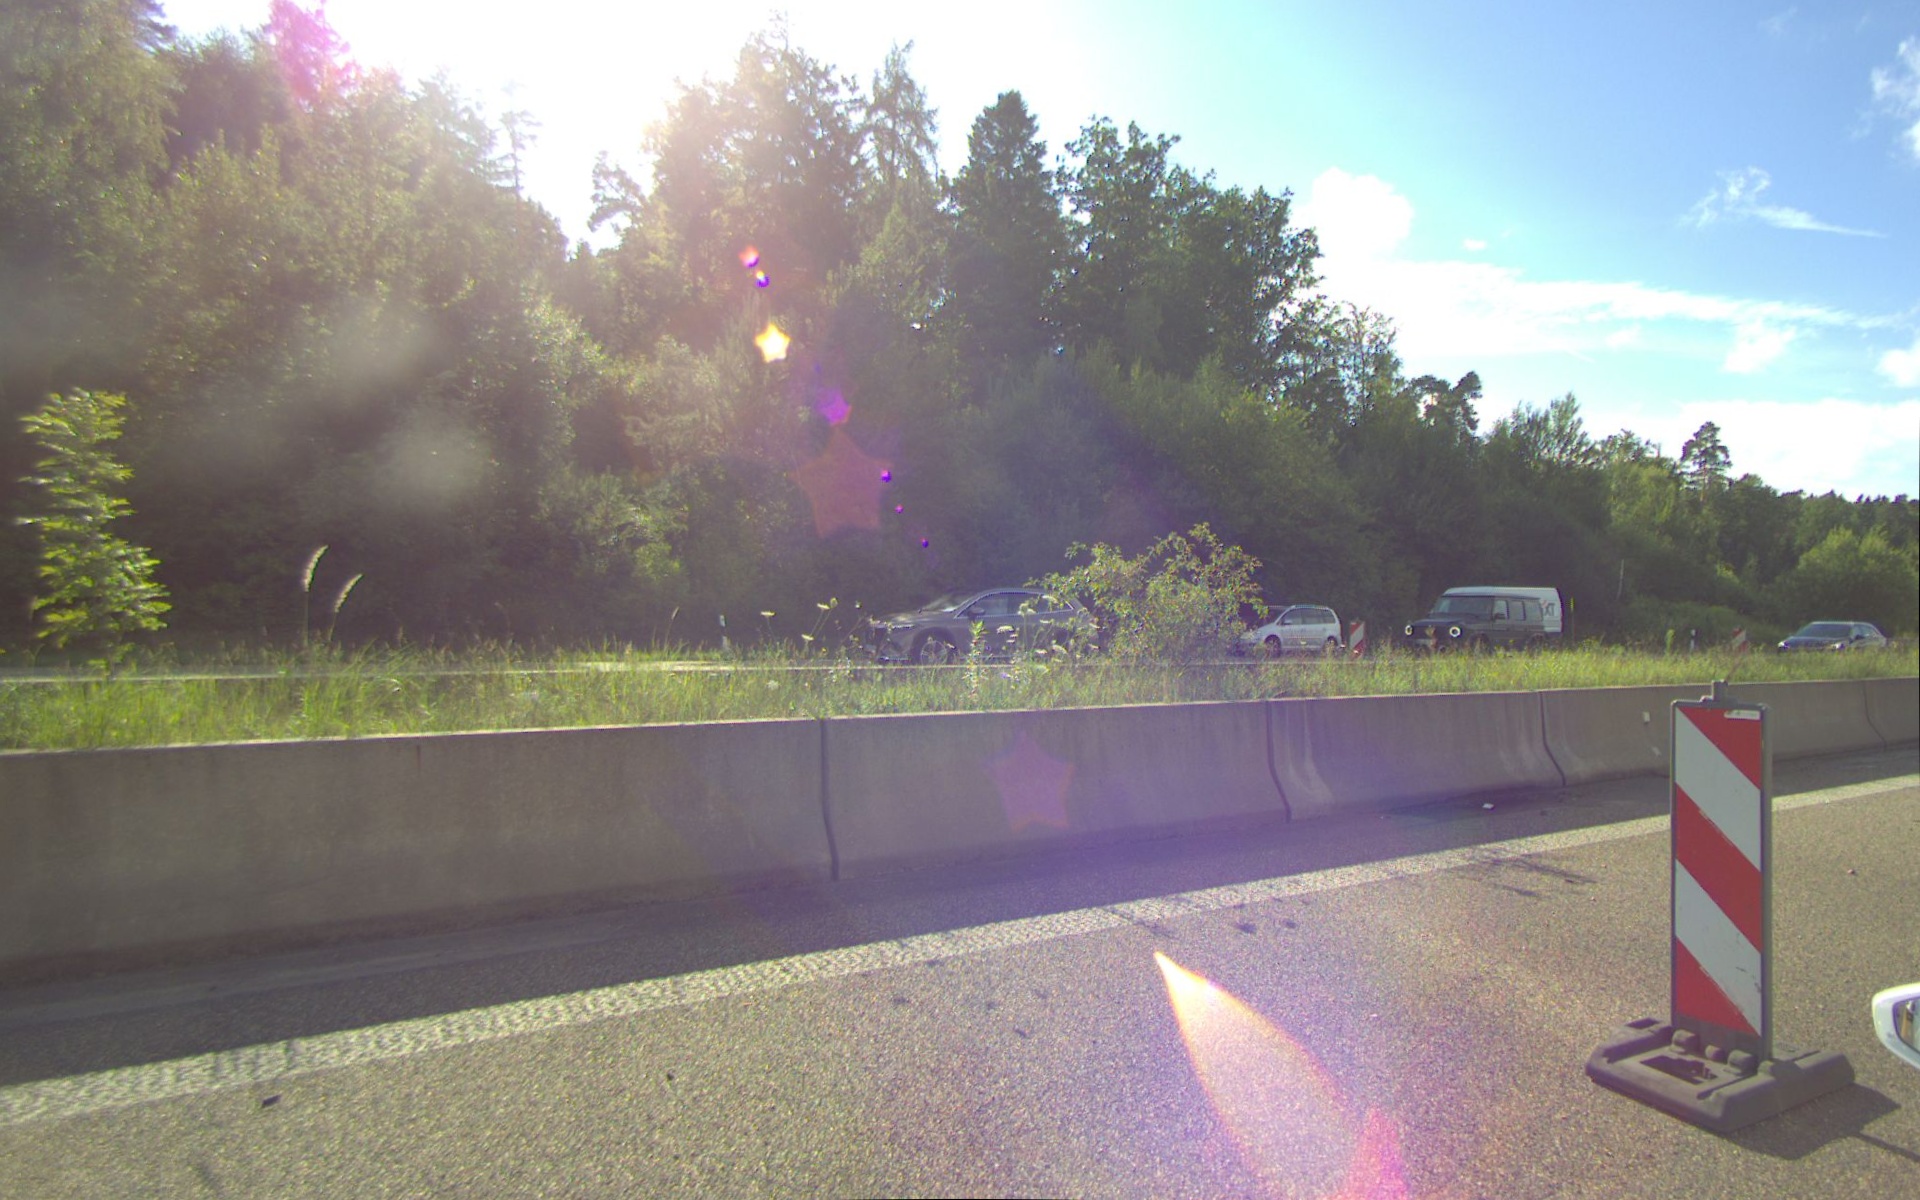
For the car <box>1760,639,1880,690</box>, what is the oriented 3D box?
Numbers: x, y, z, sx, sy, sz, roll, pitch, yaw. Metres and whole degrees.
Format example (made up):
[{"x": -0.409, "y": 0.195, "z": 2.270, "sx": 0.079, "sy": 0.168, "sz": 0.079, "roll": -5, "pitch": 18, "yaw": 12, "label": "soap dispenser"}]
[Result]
[{"x": 28.176, "y": 2.088, "z": 32.889, "sx": 4.057, "sy": 1.476, "sz": 1.769, "roll": 2, "pitch": 0, "yaw": -30, "label": "car"}]

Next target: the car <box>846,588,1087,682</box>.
[{"x": 0.178, "y": 0.688, "z": 20.194, "sx": 4.563, "sy": 1.711, "sz": 1.769, "roll": 2, "pitch": 0, "yaw": -30, "label": "car"}]

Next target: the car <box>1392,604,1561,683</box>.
[{"x": 13.678, "y": 1.137, "z": 26.540, "sx": 4.563, "sy": 1.928, "sz": 1.769, "roll": 2, "pitch": 0, "yaw": -30, "label": "car"}]

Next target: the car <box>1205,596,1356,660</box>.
[{"x": 10.117, "y": 0.902, "z": 31.646, "sx": 4.706, "sy": 1.878, "sz": 1.851, "roll": 2, "pitch": 0, "yaw": -30, "label": "car"}]

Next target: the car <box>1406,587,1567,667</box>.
[{"x": 19.082, "y": 0.993, "z": 36.294, "sx": 6.447, "sy": 2.720, "sz": 2.018, "roll": 2, "pitch": 0, "yaw": -31, "label": "car"}]
